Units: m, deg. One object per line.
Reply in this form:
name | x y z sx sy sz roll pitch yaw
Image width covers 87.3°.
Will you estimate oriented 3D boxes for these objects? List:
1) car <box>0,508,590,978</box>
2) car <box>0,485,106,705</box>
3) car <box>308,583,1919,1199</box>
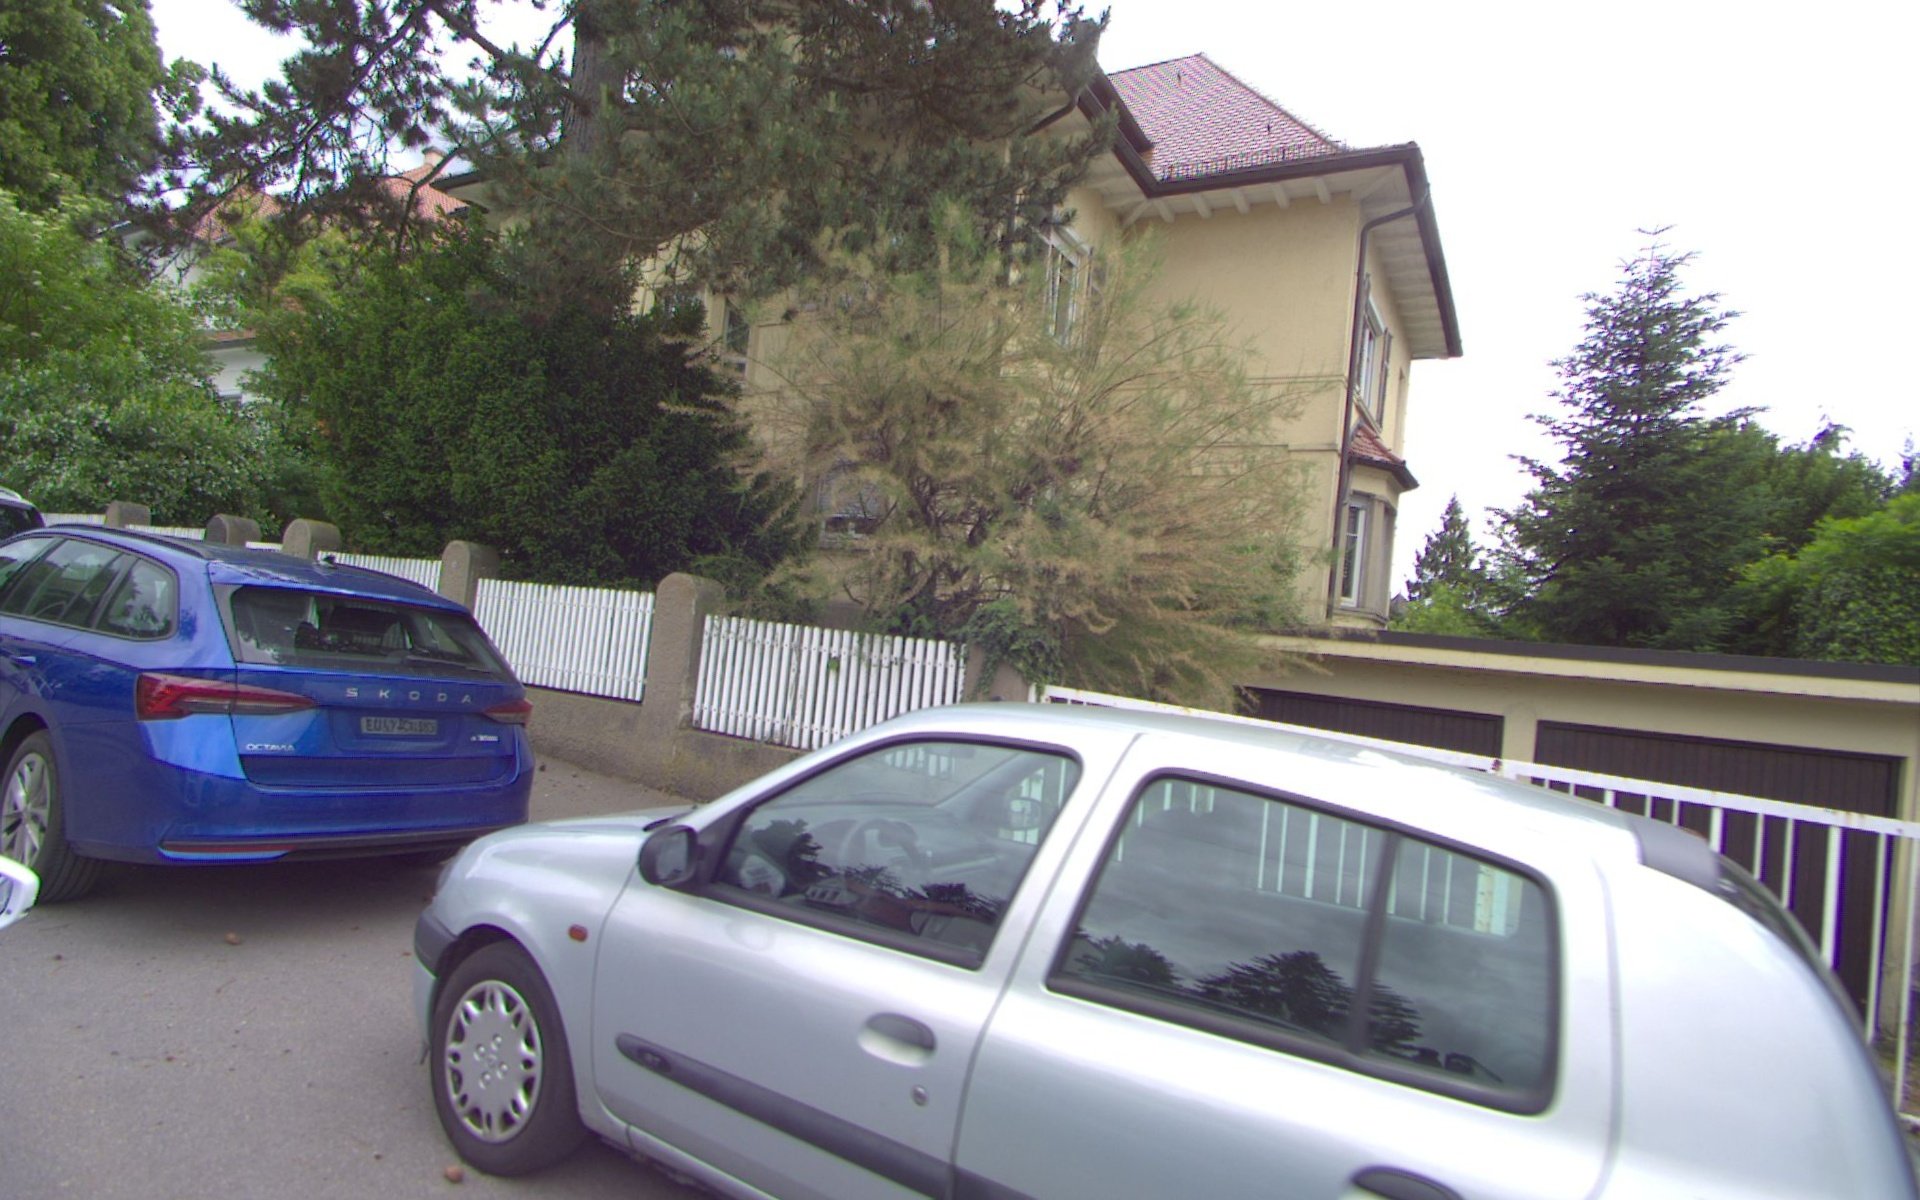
car | -3.947 0.419 5.050 3.984 1.474 1.652 6 -3 31
car | -9.194 -0.310 8.289 4.231 1.620 1.791 7 -3 30
car | 0.077 0.932 2.754 3.594 1.415 1.578 7 -3 31
